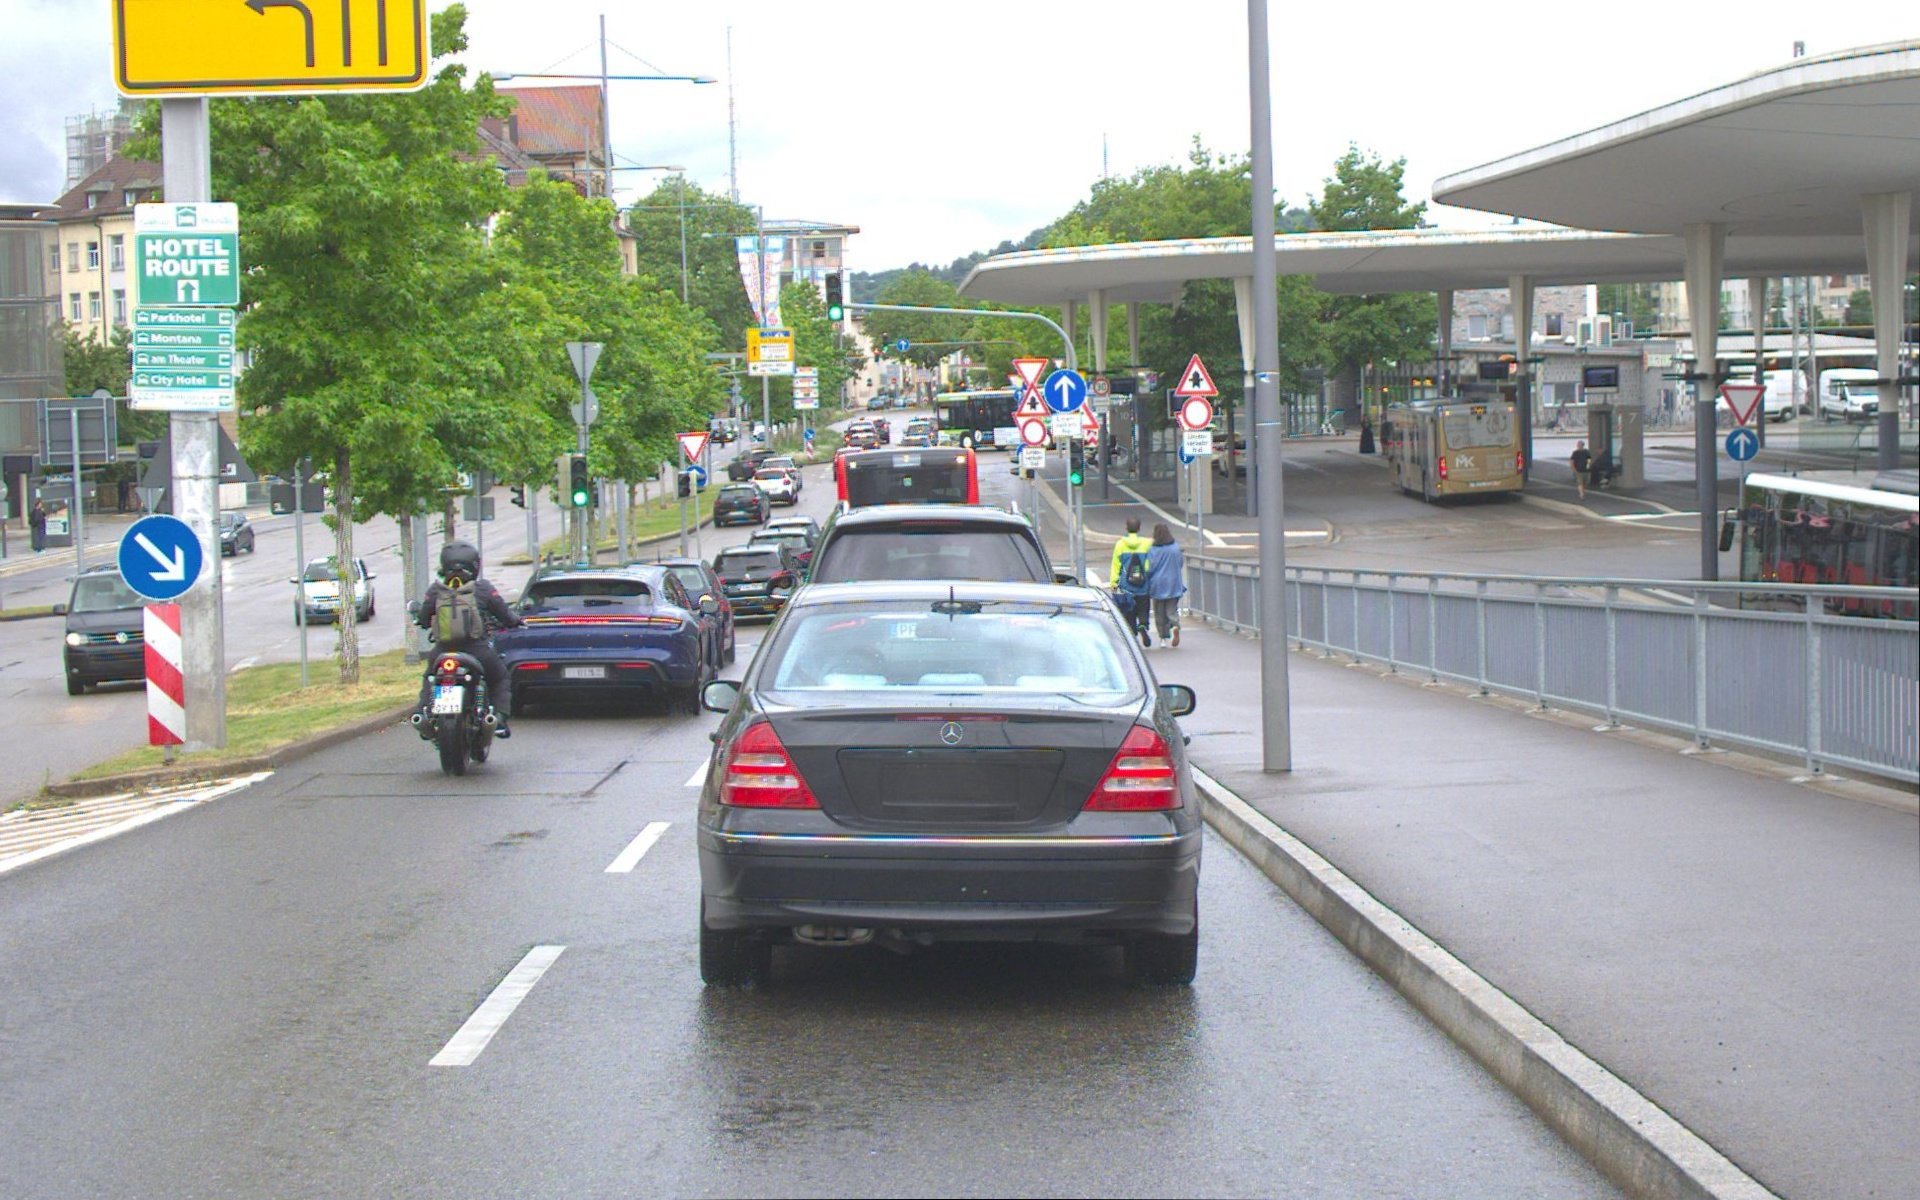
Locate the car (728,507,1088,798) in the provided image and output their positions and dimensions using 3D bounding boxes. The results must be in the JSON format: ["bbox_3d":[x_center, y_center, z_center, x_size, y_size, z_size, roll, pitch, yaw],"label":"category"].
[{"bbox_3d":[-0.236,0.248,22.013,1.827,1.681,3.999,0,2,6],"label":"car"}]

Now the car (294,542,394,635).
[{"bbox_3d":[-14.089,-0.264,78.787,1.993,2.007,4.203,-2,0,-7],"label":"car"}]

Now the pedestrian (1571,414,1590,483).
[{"bbox_3d":[18.160,-4.430,100.616,0.424,2.006,0.483,-2,1,2],"label":"pedestrian"}]

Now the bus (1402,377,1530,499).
[{"bbox_3d":[15.843,-5.002,108.279,3.179,3.588,10.509,-1,2,4],"label":"bus"}]

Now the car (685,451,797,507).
[{"bbox_3d":[-8.378,-4.646,131.677,3.987,2.006,2.000,-2,2,4],"label":"car"}]

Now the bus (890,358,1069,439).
[{"bbox_3d":[0.936,-10.672,181.241,3.257,3.993,10.890,-6,6,-38],"label":"bus"}]

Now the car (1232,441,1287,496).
[{"bbox_3d":[11.354,-4.984,130.302,1.994,2.006,4.000,-1,2,5],"label":"car"}]

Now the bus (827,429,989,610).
[{"bbox_3d":[-0.989,-1.530,65.336,2.827,3.178,10.310,0,1,-1],"label":"bus"}]

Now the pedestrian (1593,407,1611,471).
[{"bbox_3d":[20.269,-5.072,108.552,0.424,2.006,0.483,-2,1,2],"label":"pedestrian"}]

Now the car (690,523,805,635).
[{"bbox_3d":[-3.953,-0.428,64.445,1.993,1.999,4.001,0,2,-1],"label":"car"}]

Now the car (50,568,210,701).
[{"bbox_3d":[-13.303,0.525,55.290,1.993,2.007,4.203,-2,0,-7],"label":"car"}]

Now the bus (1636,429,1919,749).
[{"bbox_3d":[10.474,-0.294,41.798,2.645,3.225,7.074,-2,5,-4],"label":"bus"}]

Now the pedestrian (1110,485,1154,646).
[{"bbox_3d":[2.173,-0.434,43.446,0.489,2.007,0.469,-2,-1,2],"label":"pedestrian"}]

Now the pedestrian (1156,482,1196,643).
[{"bbox_3d":[2.729,-0.471,43.496,0.424,2.007,0.483,-2,-1,2],"label":"pedestrian"}]

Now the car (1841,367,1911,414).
[{"bbox_3d":[40.936,-9.352,153.682,1.993,2.006,4.001,-2,3,-1],"label":"car"}]

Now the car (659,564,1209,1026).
[{"bbox_3d":[-0.005,0.589,12.550,1.706,1.415,3.725,0,1,2],"label":"car"}]

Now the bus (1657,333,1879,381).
[{"bbox_3d":[38.999,-11.725,166.001,10.167,2.006,2.170,-2,2,-3],"label":"bus"}]

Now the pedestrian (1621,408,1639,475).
[{"bbox_3d":[20.489,-4.845,105.109,0.424,2.007,0.483,-2,-1,2],"label":"pedestrian"}]

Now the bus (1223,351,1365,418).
[{"bbox_3d":[18.160,-11.735,187.068,7.197,3.384,3.083,-2,3,-4],"label":"bus"}]

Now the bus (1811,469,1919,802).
[{"bbox_3d":[11.023,0.412,34.706,2.645,3.225,7.074,-2,4,-4],"label":"bus"}]

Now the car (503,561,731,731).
[{"bbox_3d":[-3.157,0.383,32.298,1.760,1.431,4.000,0,2,0],"label":"car"}]

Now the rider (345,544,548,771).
[{"bbox_3d":[-3.534,0.361,23.848,0.881,1.467,2.196,1,1,5],"label":"rider"}]

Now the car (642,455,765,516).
[{"bbox_3d":[-8.953,-4.000,120.298,3.987,2.006,2.000,-2,2,4],"label":"car"}]
